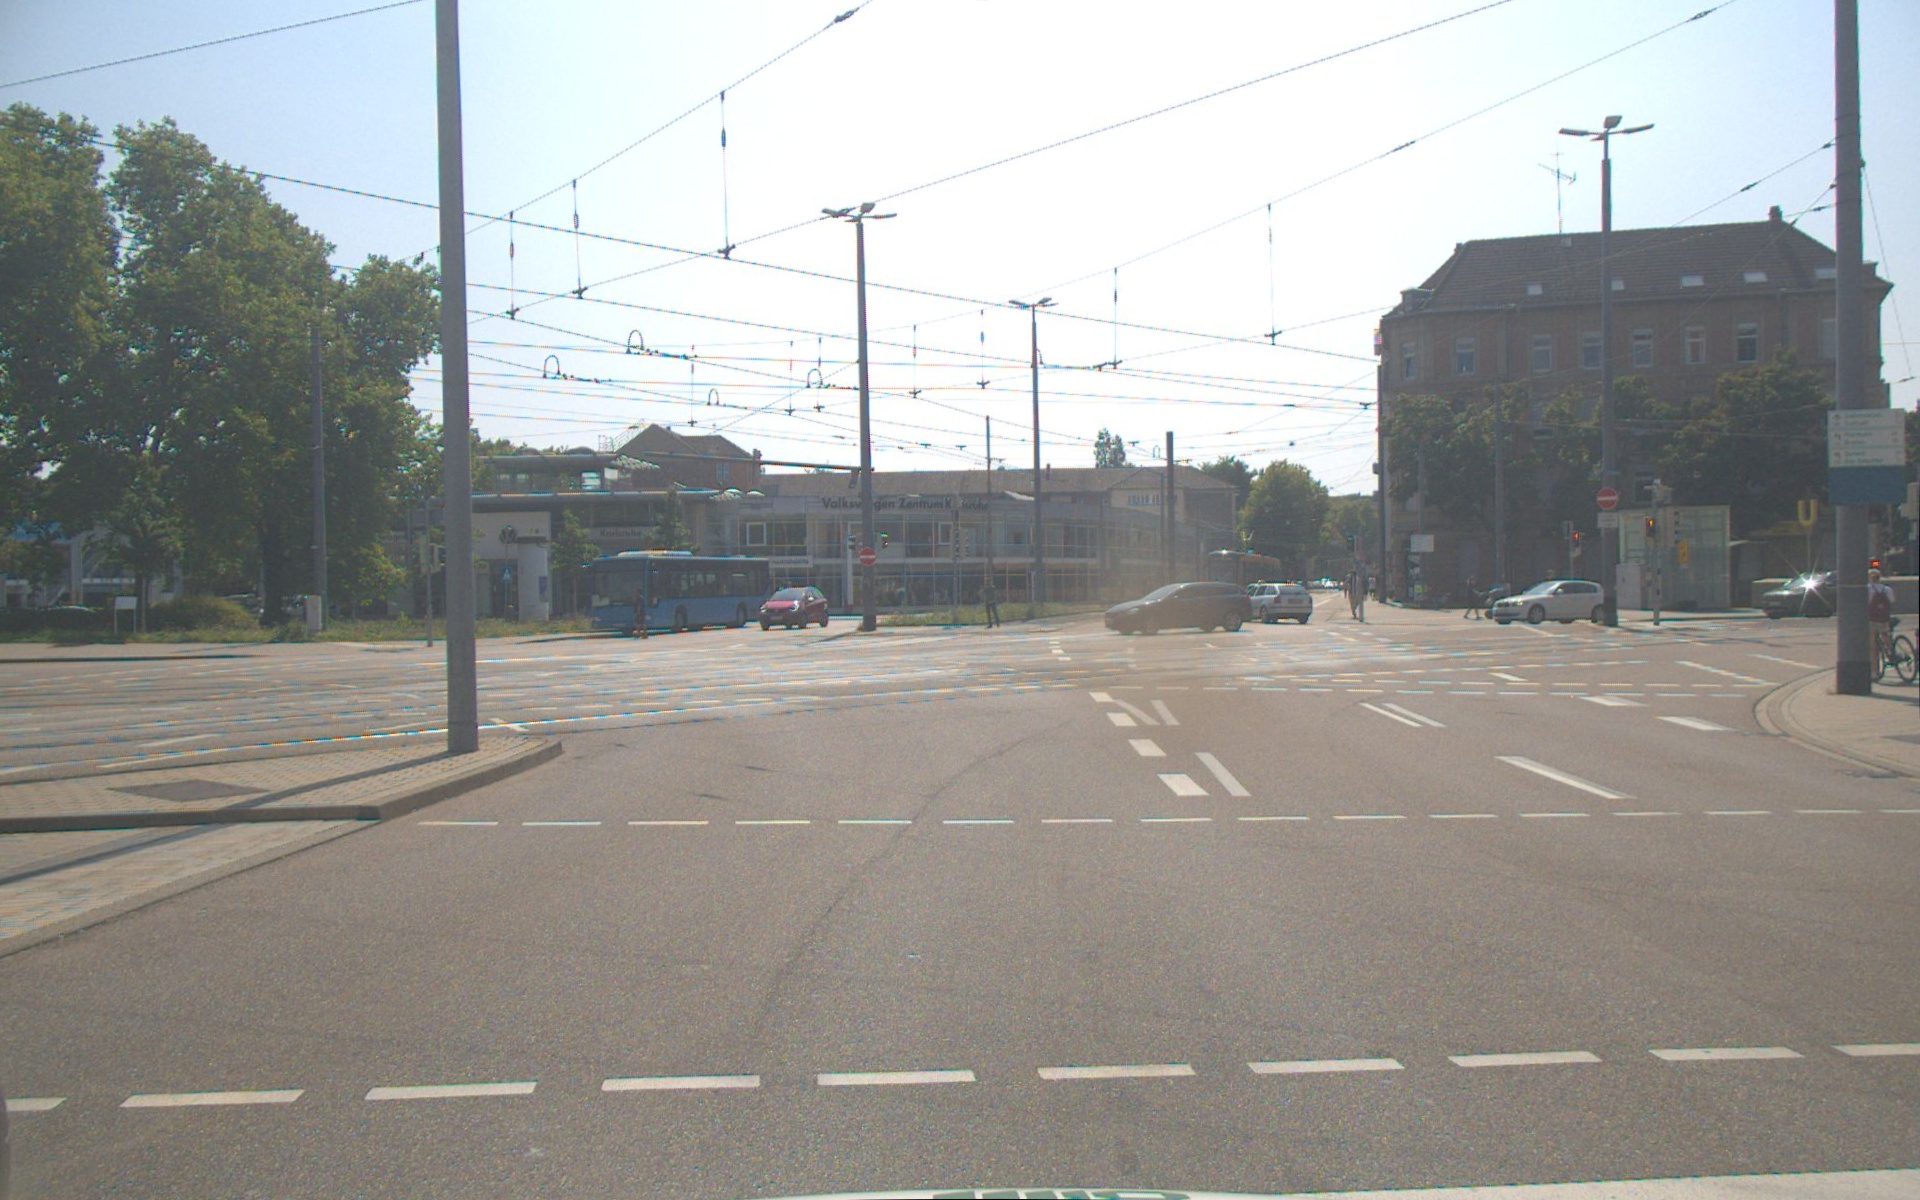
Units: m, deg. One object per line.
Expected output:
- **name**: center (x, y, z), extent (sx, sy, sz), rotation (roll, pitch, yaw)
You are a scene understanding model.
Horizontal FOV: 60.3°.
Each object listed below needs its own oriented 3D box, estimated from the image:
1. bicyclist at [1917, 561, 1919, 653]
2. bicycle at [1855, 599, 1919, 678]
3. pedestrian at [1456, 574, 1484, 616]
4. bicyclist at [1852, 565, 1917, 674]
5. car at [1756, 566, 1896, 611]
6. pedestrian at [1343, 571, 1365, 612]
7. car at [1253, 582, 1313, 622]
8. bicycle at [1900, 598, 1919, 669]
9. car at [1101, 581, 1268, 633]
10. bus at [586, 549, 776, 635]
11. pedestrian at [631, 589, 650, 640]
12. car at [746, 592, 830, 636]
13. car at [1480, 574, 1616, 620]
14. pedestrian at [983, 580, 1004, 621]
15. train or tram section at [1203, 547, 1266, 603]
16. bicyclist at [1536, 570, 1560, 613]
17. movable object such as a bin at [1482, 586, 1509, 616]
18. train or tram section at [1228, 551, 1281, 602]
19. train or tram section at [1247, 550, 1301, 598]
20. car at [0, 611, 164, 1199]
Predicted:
- **bicyclist**: center (14.950, 0.105, 25.043), extent (0.519, 1.417, 0.894), rotation (-1, 0, 12)
- **bicycle**: center (13.423, 0.539, 23.765), extent (0.525, 1.073, 1.655), rotation (-1, 0, 12)
- **pedestrian**: center (19.399, -0.187, 62.914), extent (0.834, 1.572, 0.528), rotation (-1, 0, -9)
- **bicyclist**: center (13.436, 0.277, 24.050), extent (0.614, 1.544, 0.712), rotation (-1, 0, 12)
- **car**: center (31.071, -0.422, 59.363), extent (4.545, 1.531, 1.987), rotation (-1, 0, -21)
- **pedestrian**: center (15.850, -0.337, 66.616), extent (0.686, 1.631, 0.572), rotation (-1, 0, -8)
- **car**: center (12.149, 0.050, 62.471), extent (1.733, 1.440, 4.191), rotation (-1, 0, 5)
- **bicycle**: center (15.032, 0.520, 25.406), extent (0.525, 1.073, 1.655), rotation (-1, 0, 12)
- **car**: center (6.700, 0.186, 49.346), extent (4.684, 1.440, 1.765), rotation (-1, 0, -20)
- **bus**: center (-10.881, -0.341, 66.452), extent (2.508, 3.136, 12.031), rotation (-1, 0, 16)
- **pedestrian**: center (-10.894, 0.485, 56.394), extent (0.544, 1.713, 0.452), rotation (-1, 0, -19)
- **car**: center (-6.531, 0.527, 63.242), extent (1.713, 1.579, 4.002), rotation (-1, 0, 17)
- **car**: center (19.353, -0.109, 54.444), extent (4.130, 1.440, 1.764), rotation (-1, 0, -22)
- **pedestrian**: center (1.217, 0.007, 59.601), extent (0.666, 1.468, 0.364), rotation (-1, 0, -18)
- **train or tram section**: center (18.588, -1.632, 111.543), extent (2.534, 3.578, 10.904), rotation (-1, 0, 18)
- **bicyclist**: center (21.471, -0.299, 60.399), extent (0.603, 1.555, 0.517), rotation (-1, 0, -25)
- **movable object such as a bin**: center (20.264, 0.030, 62.614), extent (0.798, 1.096, 0.510), rotation (-1, 0, -11)
- **train or tram section**: center (21.690, -1.705, 121.317), extent (2.534, 3.578, 9.664), rotation (-1, 0, 18)
- **train or tram section**: center (25.195, -2.024, 132.134), extent (2.534, 3.578, 12.979), rotation (-1, 0, 18)
- **car**: center (-2.517, 0.730, 1.349), extent (1.728, 1.412, 3.783), rotation (1, 0, 3)
